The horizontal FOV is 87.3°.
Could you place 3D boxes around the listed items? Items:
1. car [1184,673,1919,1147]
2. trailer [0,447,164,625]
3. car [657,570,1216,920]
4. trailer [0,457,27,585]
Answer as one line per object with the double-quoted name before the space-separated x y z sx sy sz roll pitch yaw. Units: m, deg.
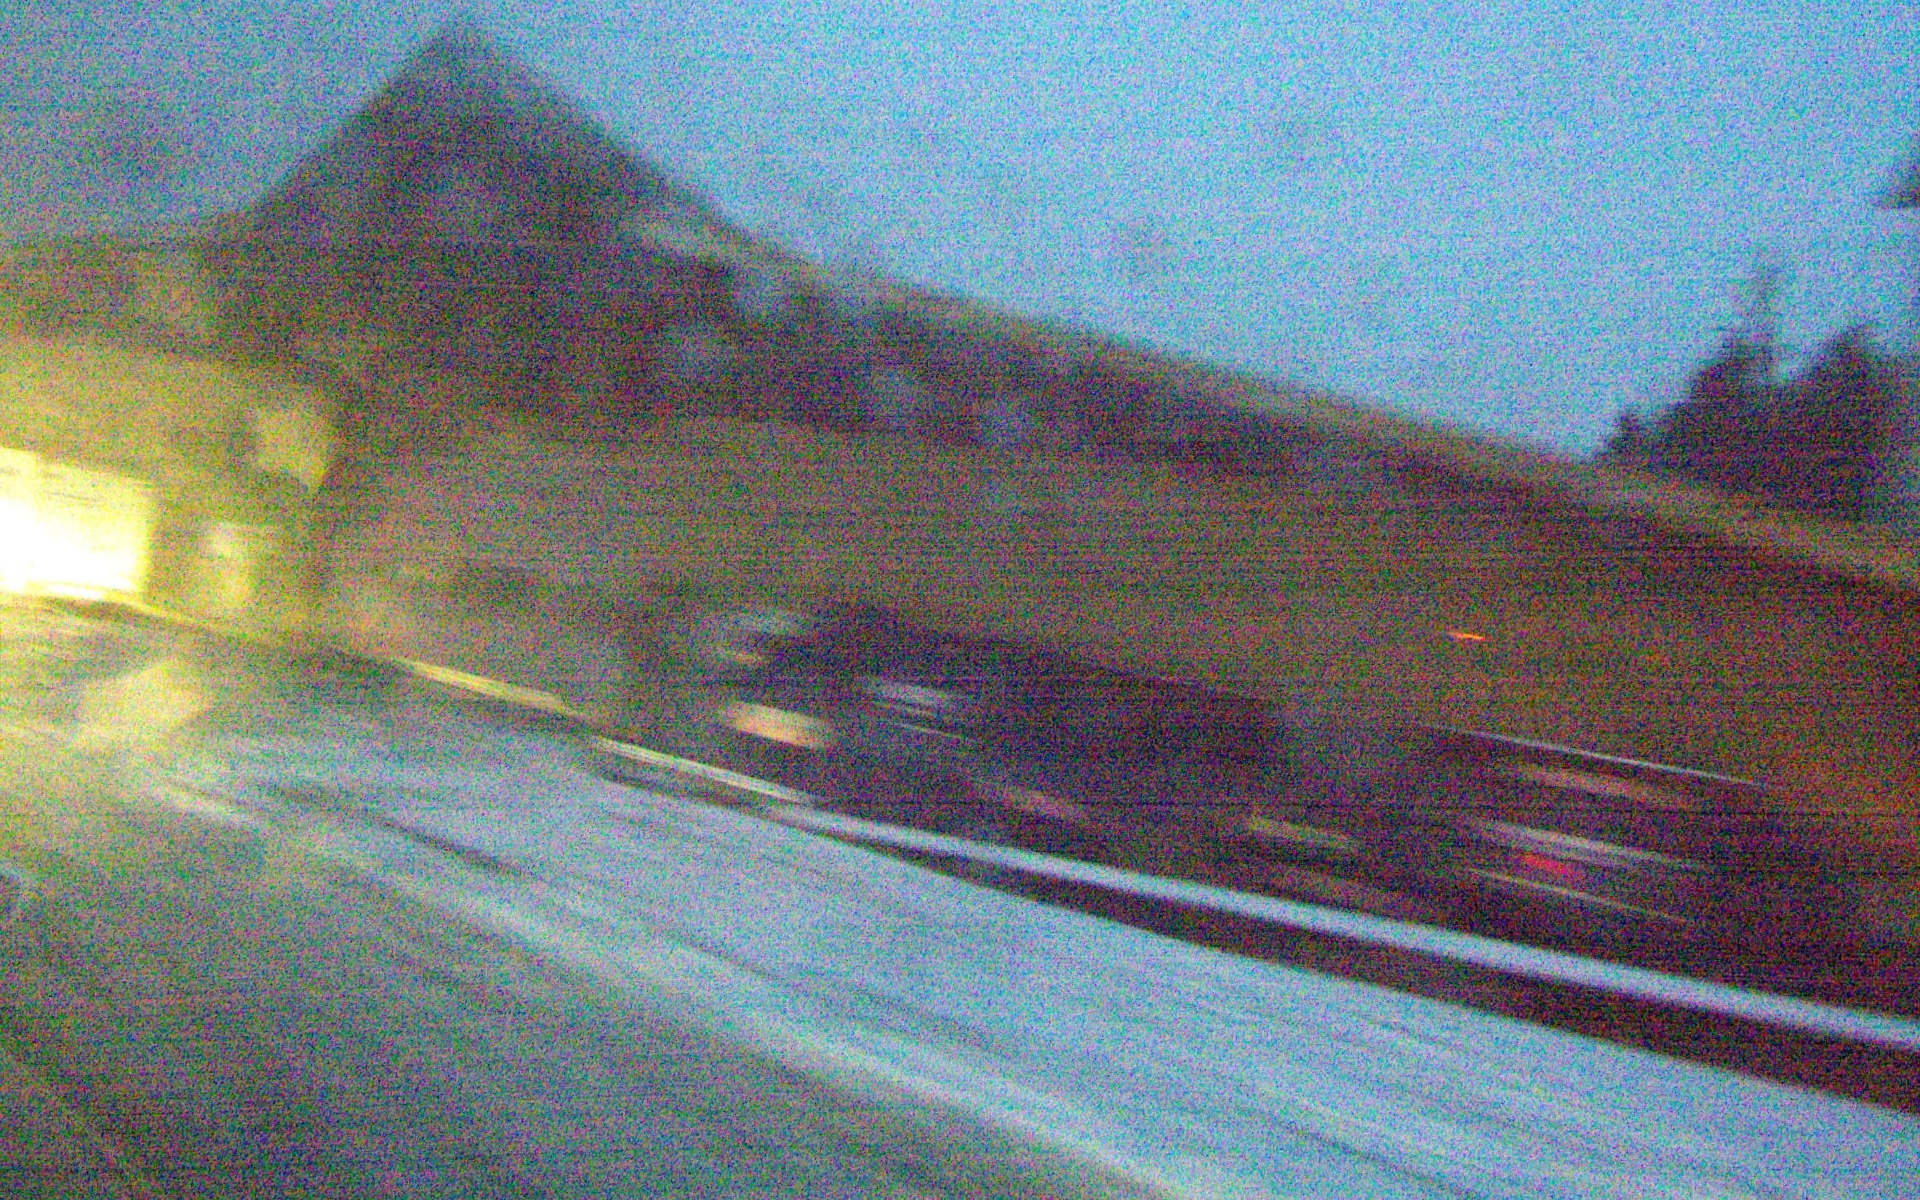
"car" 3.794 1.730 6.534 4.082 1.828 1.886 7 -4 25
"trailer" -15.277 -1.136 16.469 4.354 2.375 1.613 7 -5 28
"car" -0.212 1.108 8.868 4.312 2.061 1.886 7 -4 25
"trailer" -19.500 -1.692 18.532 4.571 2.388 1.637 7 -5 28
